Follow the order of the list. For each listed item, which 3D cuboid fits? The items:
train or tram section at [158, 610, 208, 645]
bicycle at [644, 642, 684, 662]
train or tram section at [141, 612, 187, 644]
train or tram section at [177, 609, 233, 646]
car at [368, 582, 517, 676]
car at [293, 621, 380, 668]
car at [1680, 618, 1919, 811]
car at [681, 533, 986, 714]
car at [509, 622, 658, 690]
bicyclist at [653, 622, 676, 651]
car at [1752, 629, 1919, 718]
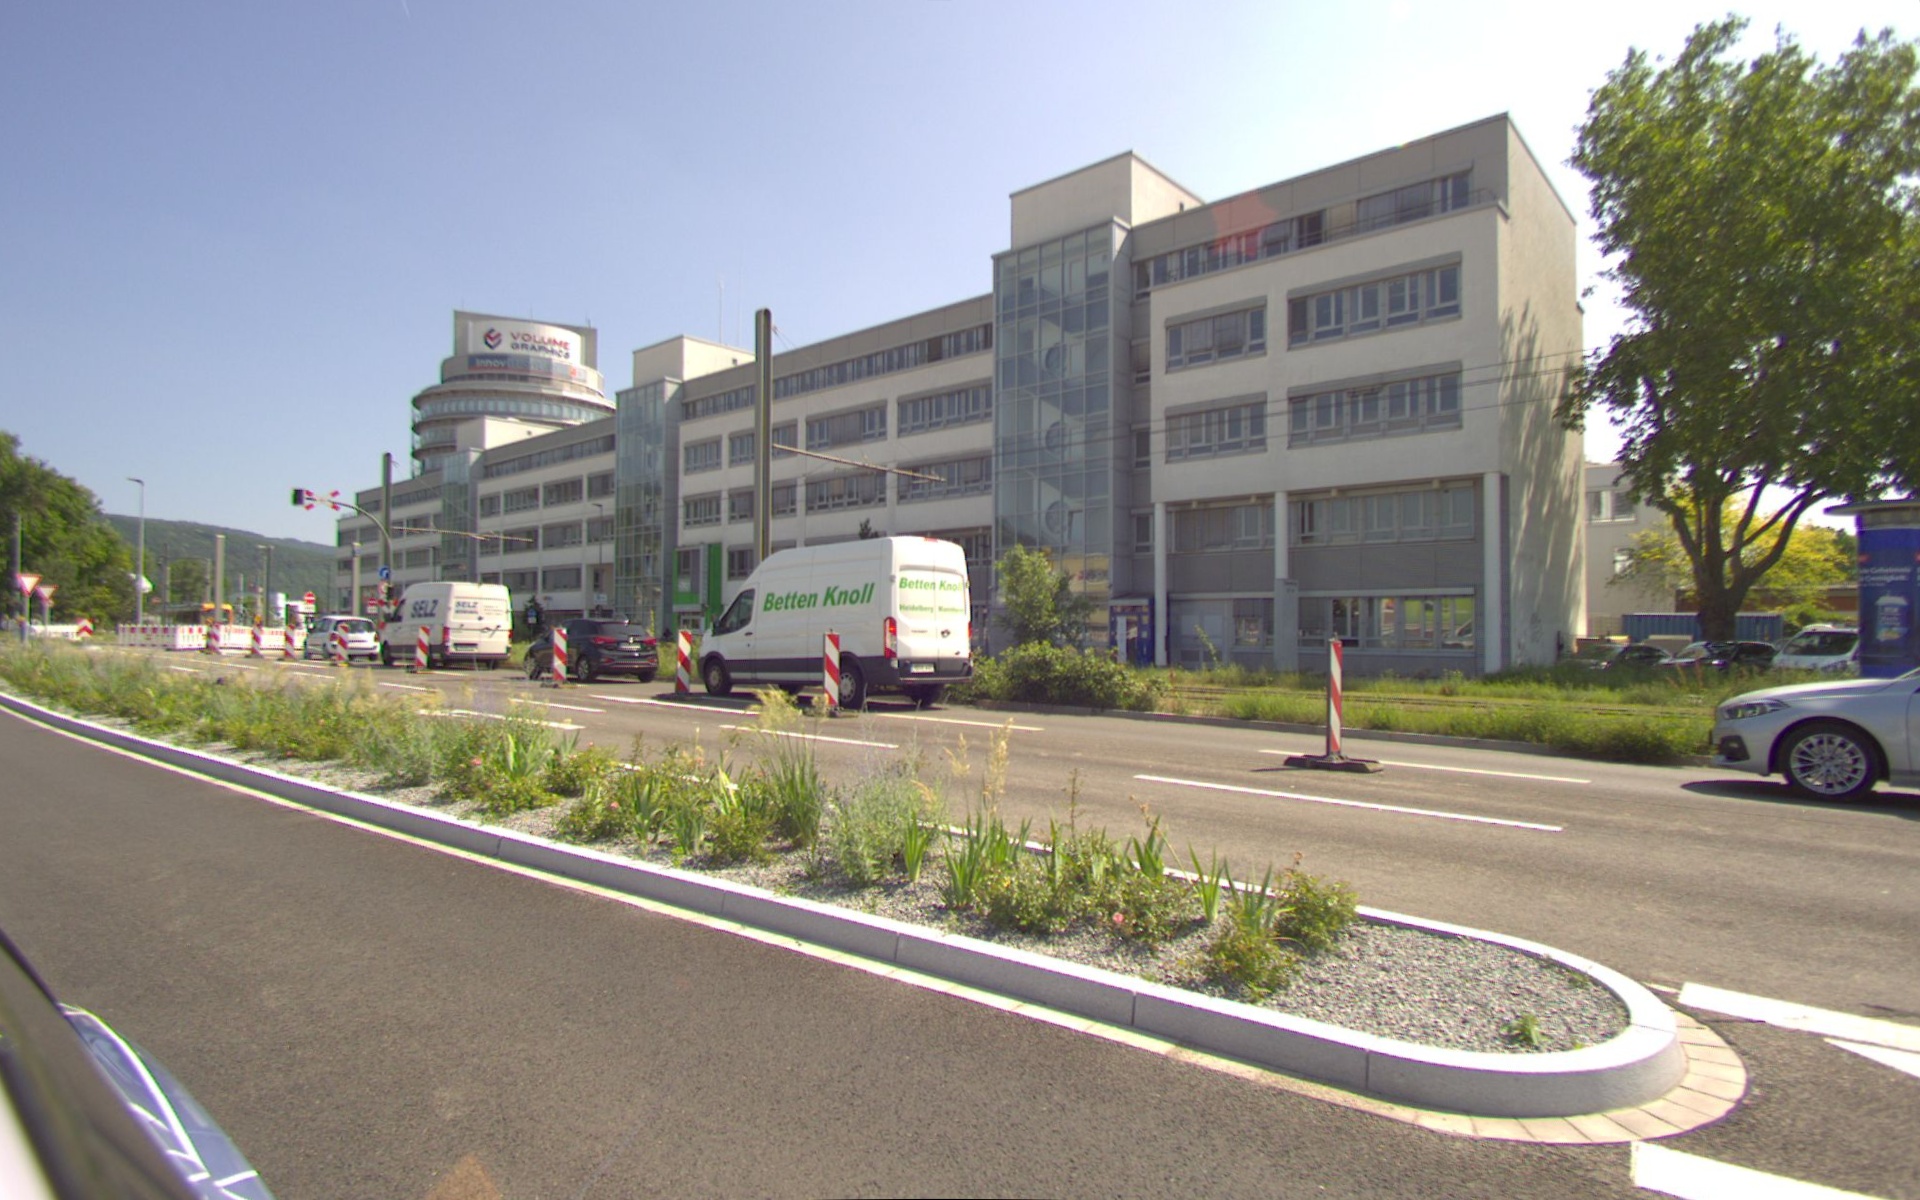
[{"bbox_3d":[-82.819,2.929,107.769,11.784,3.477,2.595,-2,-1,44],"label":"train or tram section"},{"bbox_3d":[-15.920,2.779,54.455,2.831,1.025,0.746,-1,-1,43],"label":"bicycle"},{"bbox_3d":[-91.276,3.148,115.924,11.784,3.477,2.595,-2,-1,44],"label":"train or tram section"},{"bbox_3d":[-74.345,2.701,99.570,11.784,3.477,2.595,-2,-1,44],"label":"train or tram section"},{"bbox_3d":[-15.883,0.928,30.864,6.195,2.598,2.008,-2,-5,44],"label":"car"},{"bbox_3d":[-22.368,1.582,36.276,3.977,1.553,1.563,-2,-5,43],"label":"car"},{"bbox_3d":[8.350,0.893,7.676,1.653,1.454,4.473,4,-4,-43],"label":"car"},{"bbox_3d":[-2.455,0.460,18.167,5.987,2.761,2.054,-1,-4,43],"label":"car"},{"bbox_3d":[-8.975,1.306,23.953,4.192,1.468,1.528,-2,-5,43],"label":"car"},{"bbox_3d":[-15.906,1.954,54.459,1.077,1.551,0.746,-1,-1,43],"label":"bicyclist"},{"bbox_3d":[23.950,1.868,27.019,4.988,2.196,2.120,1,-2,-21],"label":"car"}]
